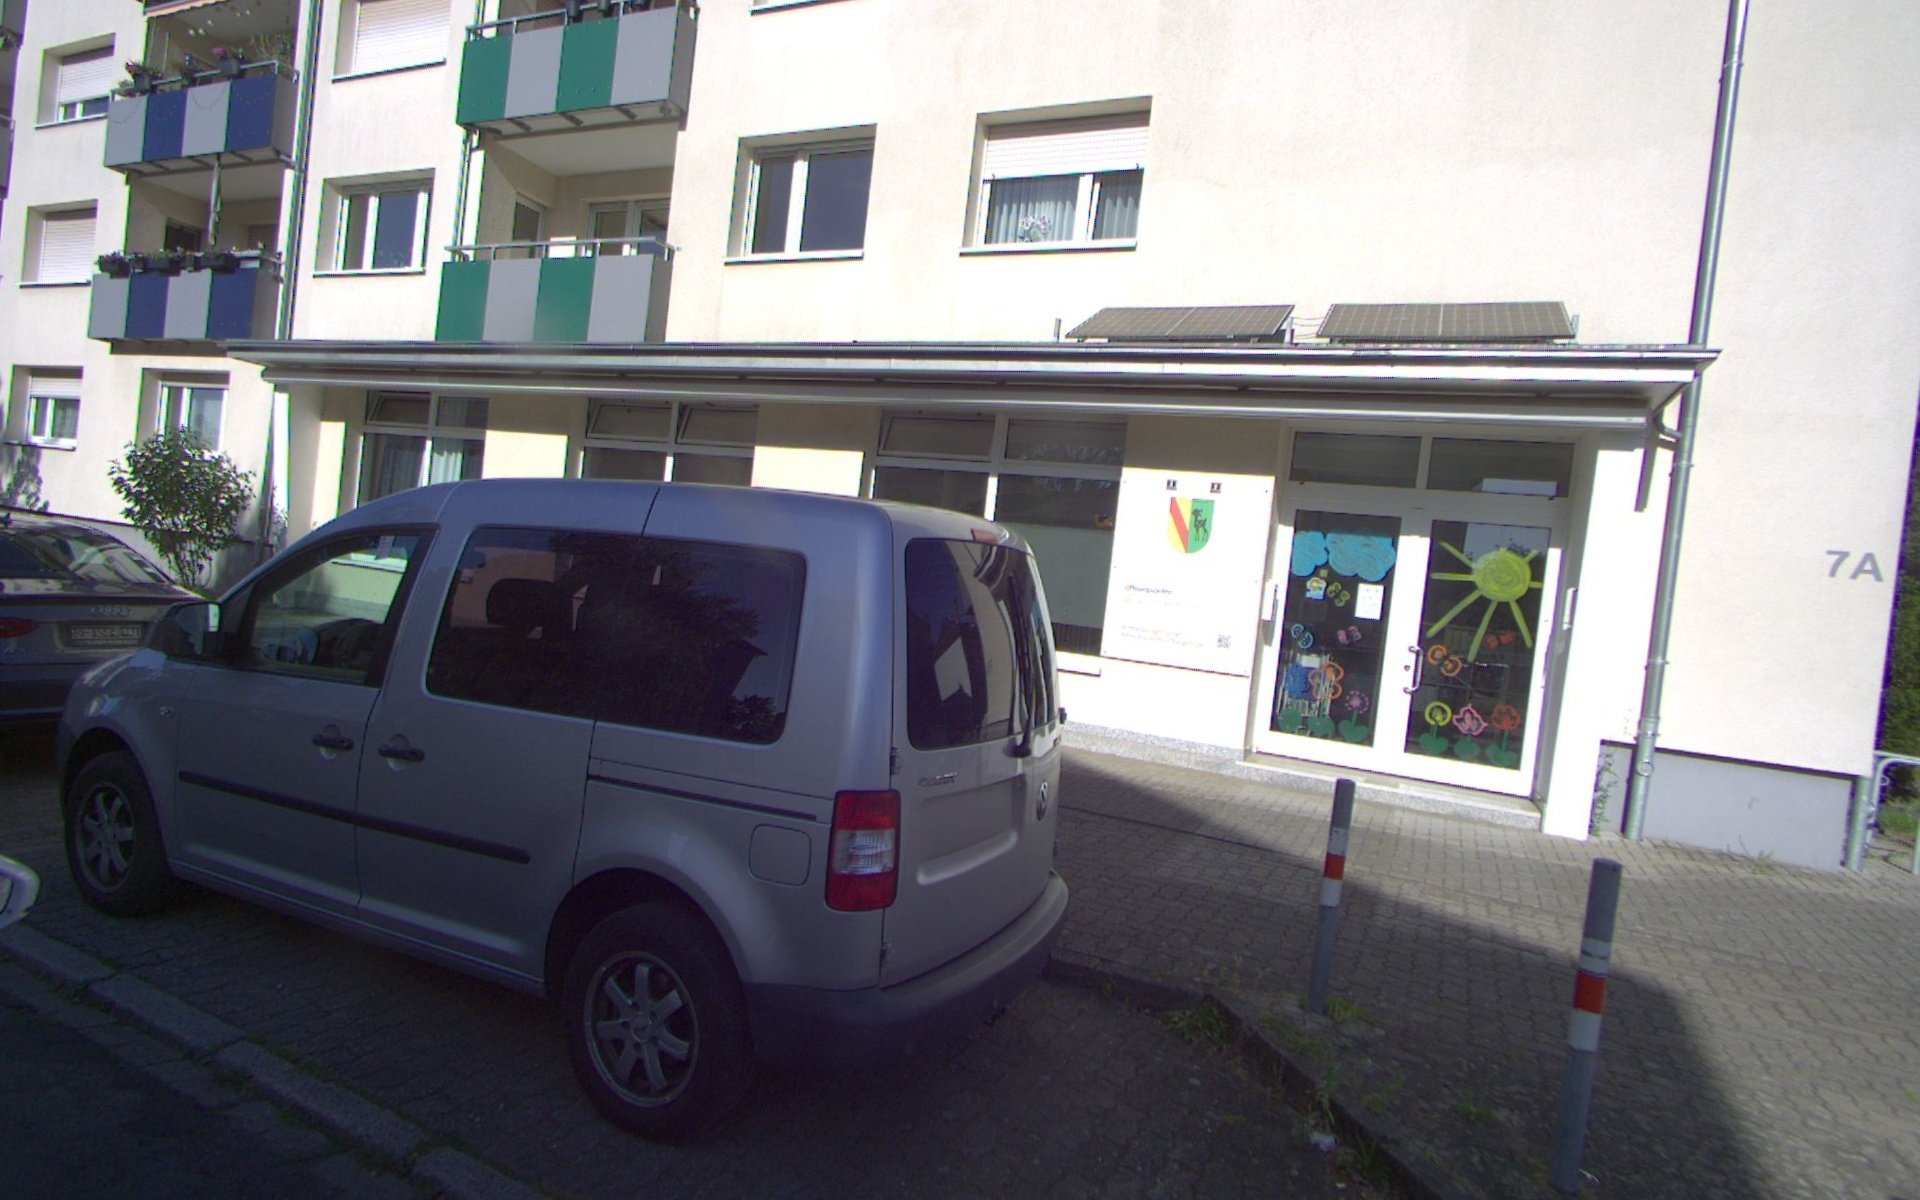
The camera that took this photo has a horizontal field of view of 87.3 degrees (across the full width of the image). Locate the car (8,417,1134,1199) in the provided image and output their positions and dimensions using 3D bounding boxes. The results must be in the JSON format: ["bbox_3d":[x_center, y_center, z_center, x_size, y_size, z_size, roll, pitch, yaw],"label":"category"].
[{"bbox_3d":[-1.599,0.410,3.988,4.057,1.849,1.749,7,4,24],"label":"car"}]

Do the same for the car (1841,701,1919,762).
[{"bbox_3d":[28.953,4.071,30.988,1.651,1.474,4.073,9,2,28],"label":"car"}]

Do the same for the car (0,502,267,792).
[{"bbox_3d":[-6.721,0.037,6.273,4.462,1.425,1.682,7,1,22],"label":"car"}]
